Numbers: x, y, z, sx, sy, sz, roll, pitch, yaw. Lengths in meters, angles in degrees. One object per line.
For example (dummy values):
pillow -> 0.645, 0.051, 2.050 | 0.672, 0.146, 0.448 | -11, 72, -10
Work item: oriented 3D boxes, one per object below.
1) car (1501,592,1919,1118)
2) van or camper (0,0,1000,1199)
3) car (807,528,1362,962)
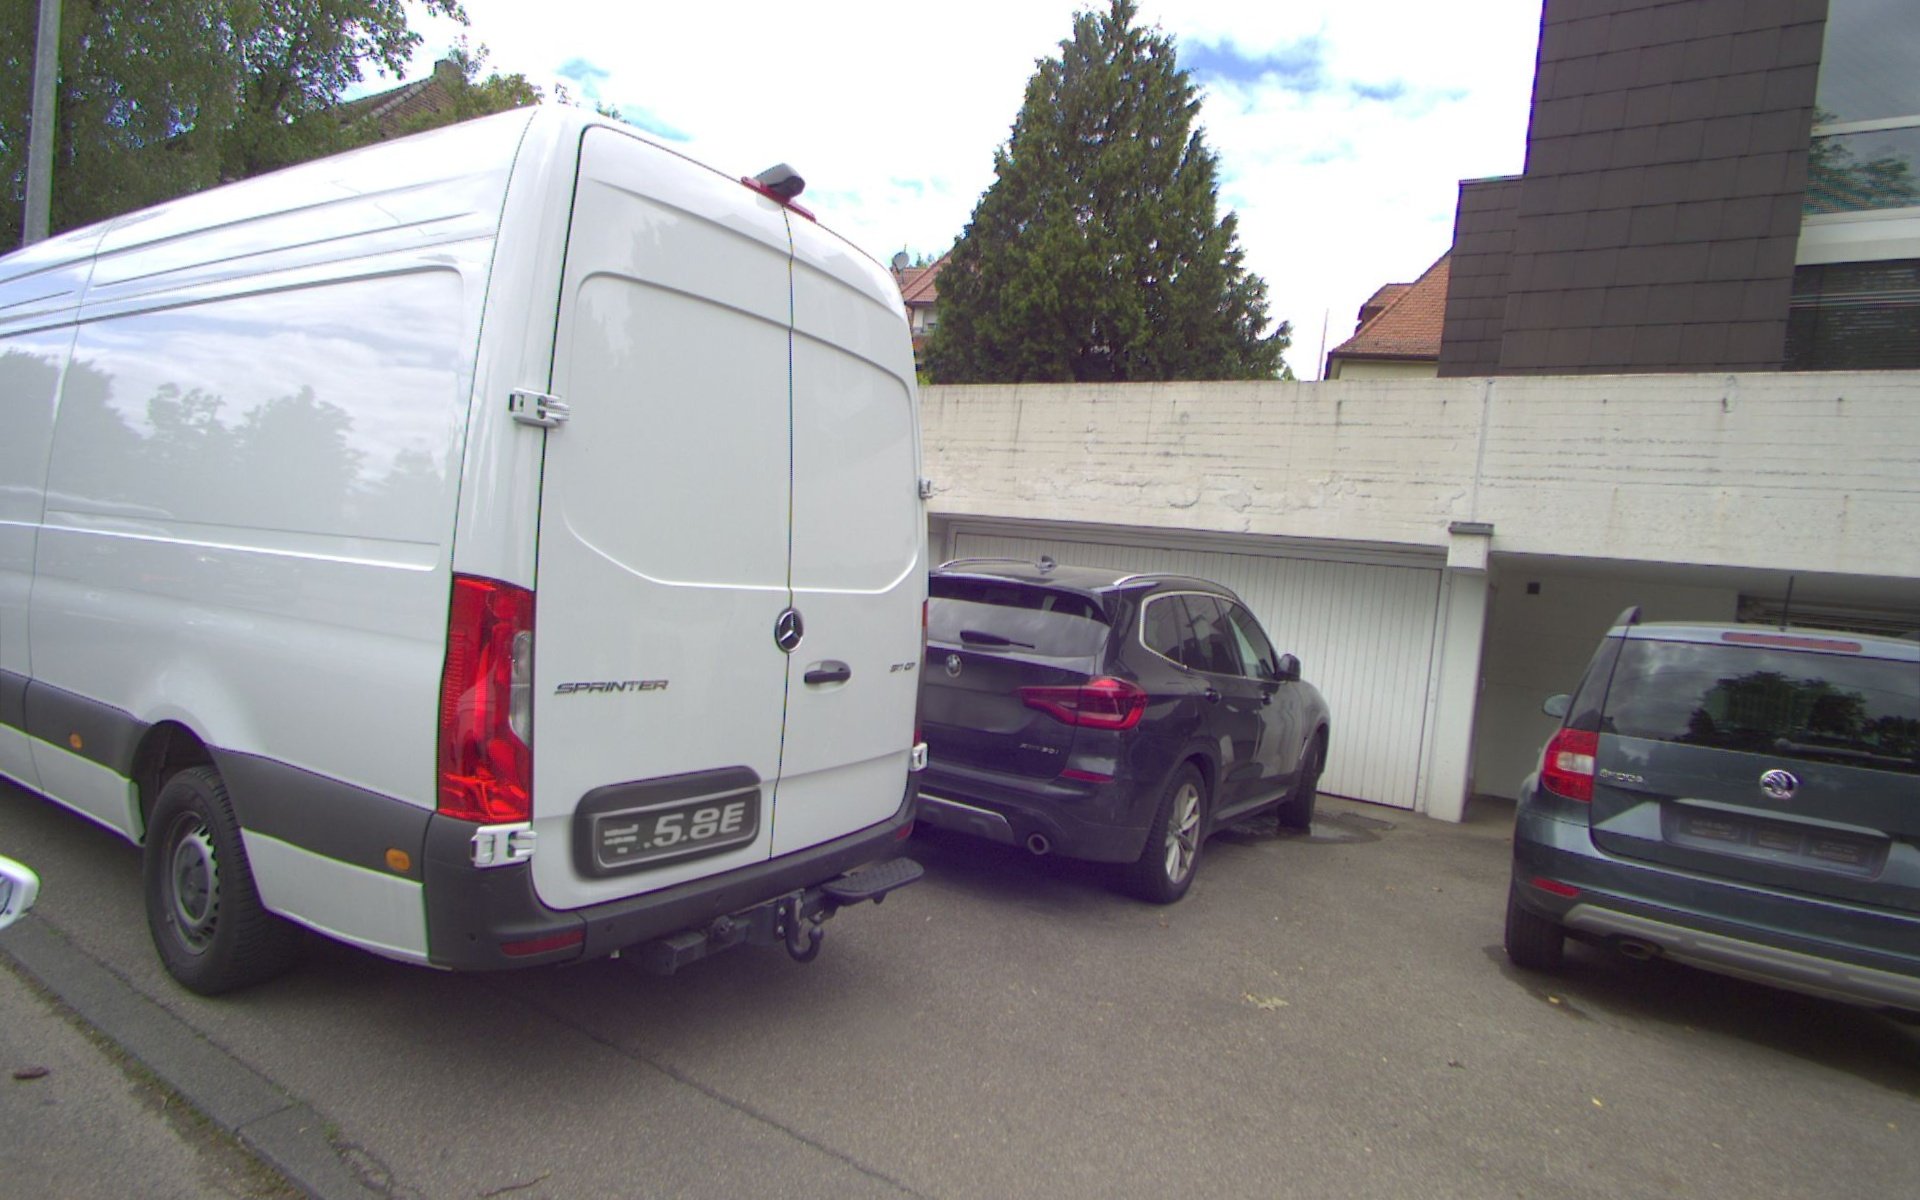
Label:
car -> 4.085, 0.972, 5.171 | 1.717, 1.672, 3.899 | 6, 1, 35
van or camper -> -3.179, -0.260, 4.687 | 6.436, 2.661, 1.990 | 6, 3, 32
car -> 1.172, 0.667, 6.380 | 1.668, 1.696, 4.384 | 6, 1, 32
